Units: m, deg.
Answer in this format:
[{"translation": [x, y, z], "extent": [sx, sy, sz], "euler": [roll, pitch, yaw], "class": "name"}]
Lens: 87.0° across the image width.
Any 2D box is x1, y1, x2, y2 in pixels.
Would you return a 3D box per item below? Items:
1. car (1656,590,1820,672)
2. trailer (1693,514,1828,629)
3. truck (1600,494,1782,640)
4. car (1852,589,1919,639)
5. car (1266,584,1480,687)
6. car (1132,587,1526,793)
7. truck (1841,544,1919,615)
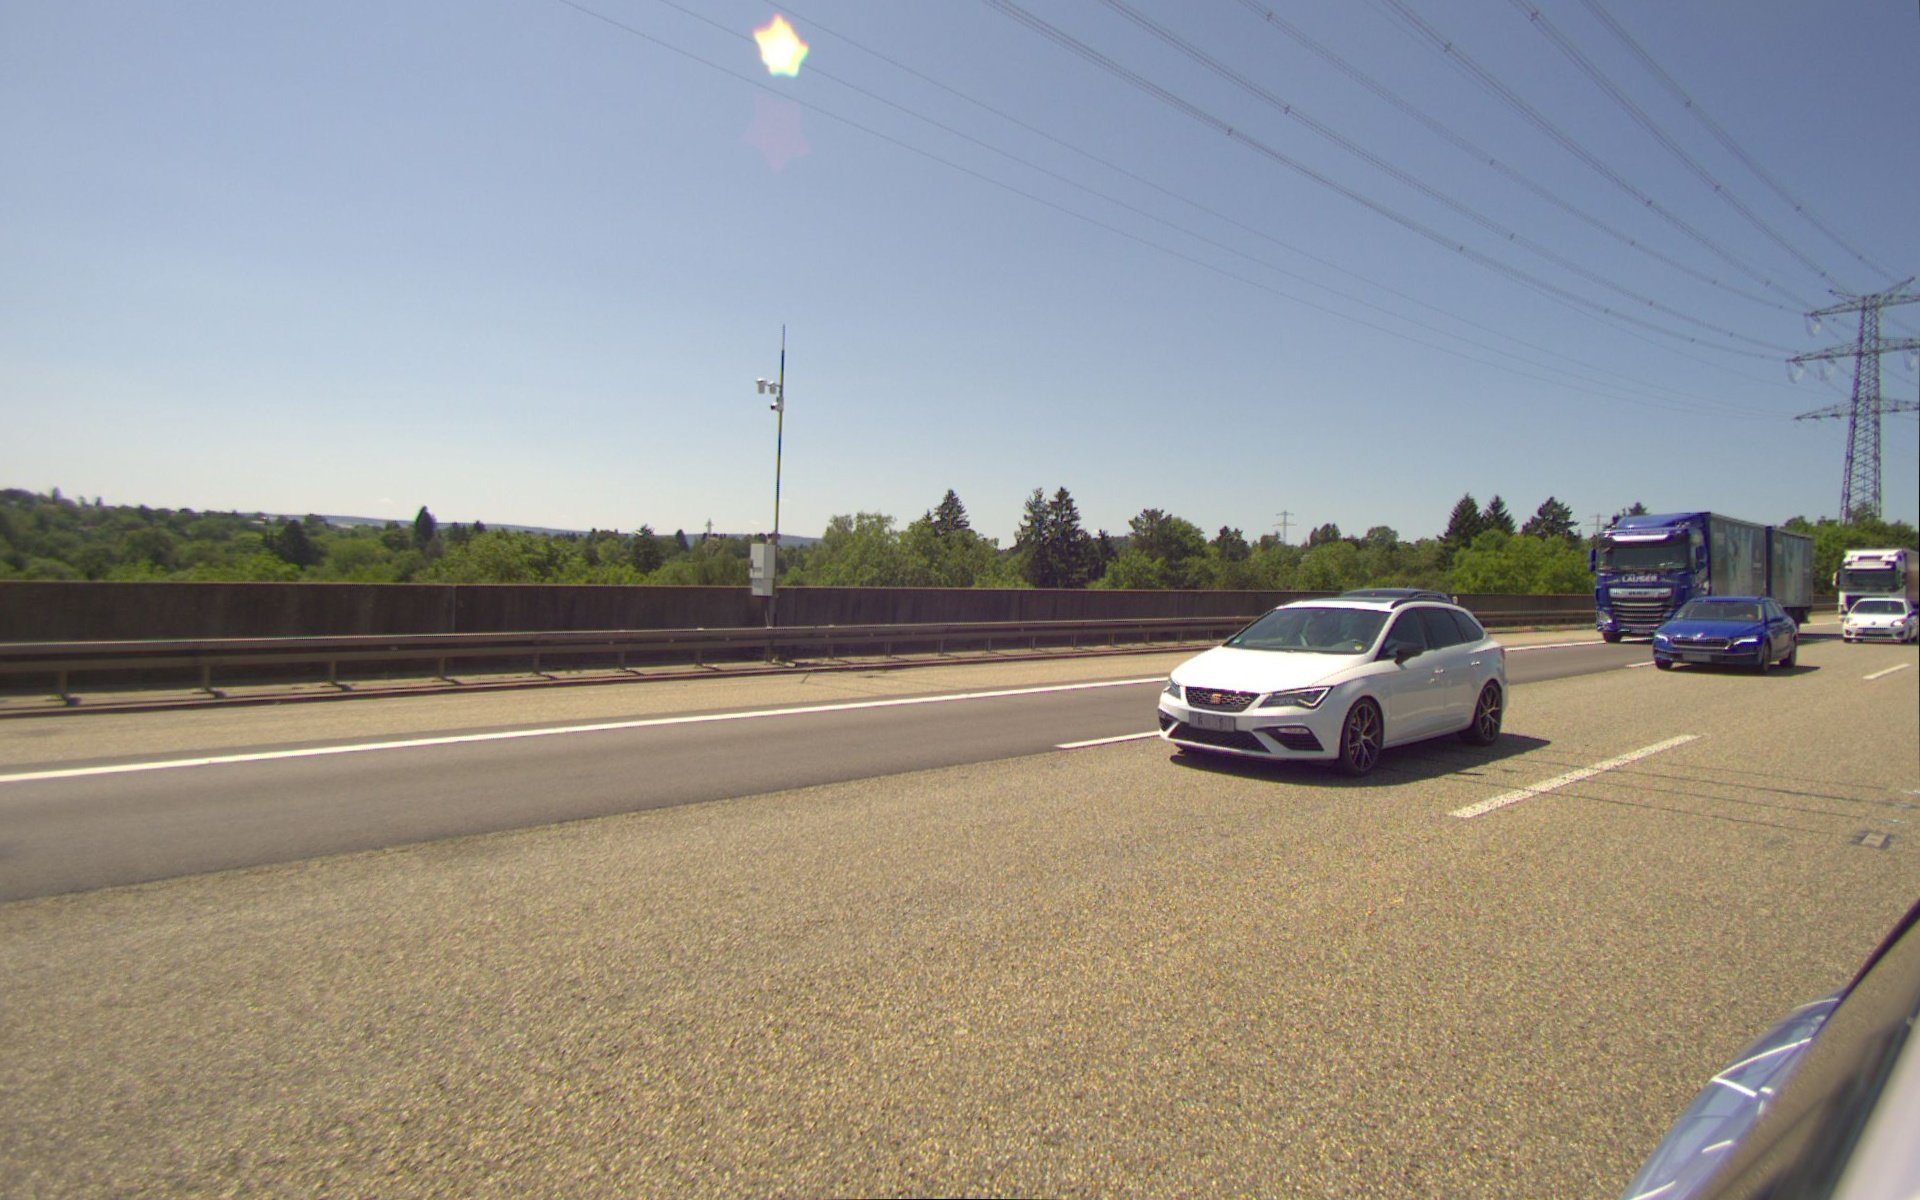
[{"translation": [15.606, 0.541, 20.236], "extent": [4.135, 1.463, 1.739], "euler": [0, 1, -40], "class": "car"}, {"translation": [31.019, -1.062, 39.060], "extent": [8.331, 3.994, 2.570], "euler": [-1, 1, -41], "class": "trailer"}, {"translation": [24.009, -1.017, 32.935], "extent": [10.265, 4.117, 2.527], "euler": [-1, 1, -41], "class": "truck"}, {"translation": [30.578, 0.422, 33.061], "extent": [4.025, 1.522, 1.760], "euler": [0, 1, -42], "class": "car"}, {"translation": [7.073, 0.507, 17.146], "extent": [4.034, 1.546, 1.739], "euler": [0, 0, -41], "class": "car"}, {"translation": [3.572, 0.636, 9.441], "extent": [4.003, 1.508, 1.841], "euler": [0, 0, -43], "class": "car"}, {"translation": [52.069, -1.104, 56.472], "extent": [10.777, 3.604, 2.982], "euler": [-1, 1, -41], "class": "truck"}]
